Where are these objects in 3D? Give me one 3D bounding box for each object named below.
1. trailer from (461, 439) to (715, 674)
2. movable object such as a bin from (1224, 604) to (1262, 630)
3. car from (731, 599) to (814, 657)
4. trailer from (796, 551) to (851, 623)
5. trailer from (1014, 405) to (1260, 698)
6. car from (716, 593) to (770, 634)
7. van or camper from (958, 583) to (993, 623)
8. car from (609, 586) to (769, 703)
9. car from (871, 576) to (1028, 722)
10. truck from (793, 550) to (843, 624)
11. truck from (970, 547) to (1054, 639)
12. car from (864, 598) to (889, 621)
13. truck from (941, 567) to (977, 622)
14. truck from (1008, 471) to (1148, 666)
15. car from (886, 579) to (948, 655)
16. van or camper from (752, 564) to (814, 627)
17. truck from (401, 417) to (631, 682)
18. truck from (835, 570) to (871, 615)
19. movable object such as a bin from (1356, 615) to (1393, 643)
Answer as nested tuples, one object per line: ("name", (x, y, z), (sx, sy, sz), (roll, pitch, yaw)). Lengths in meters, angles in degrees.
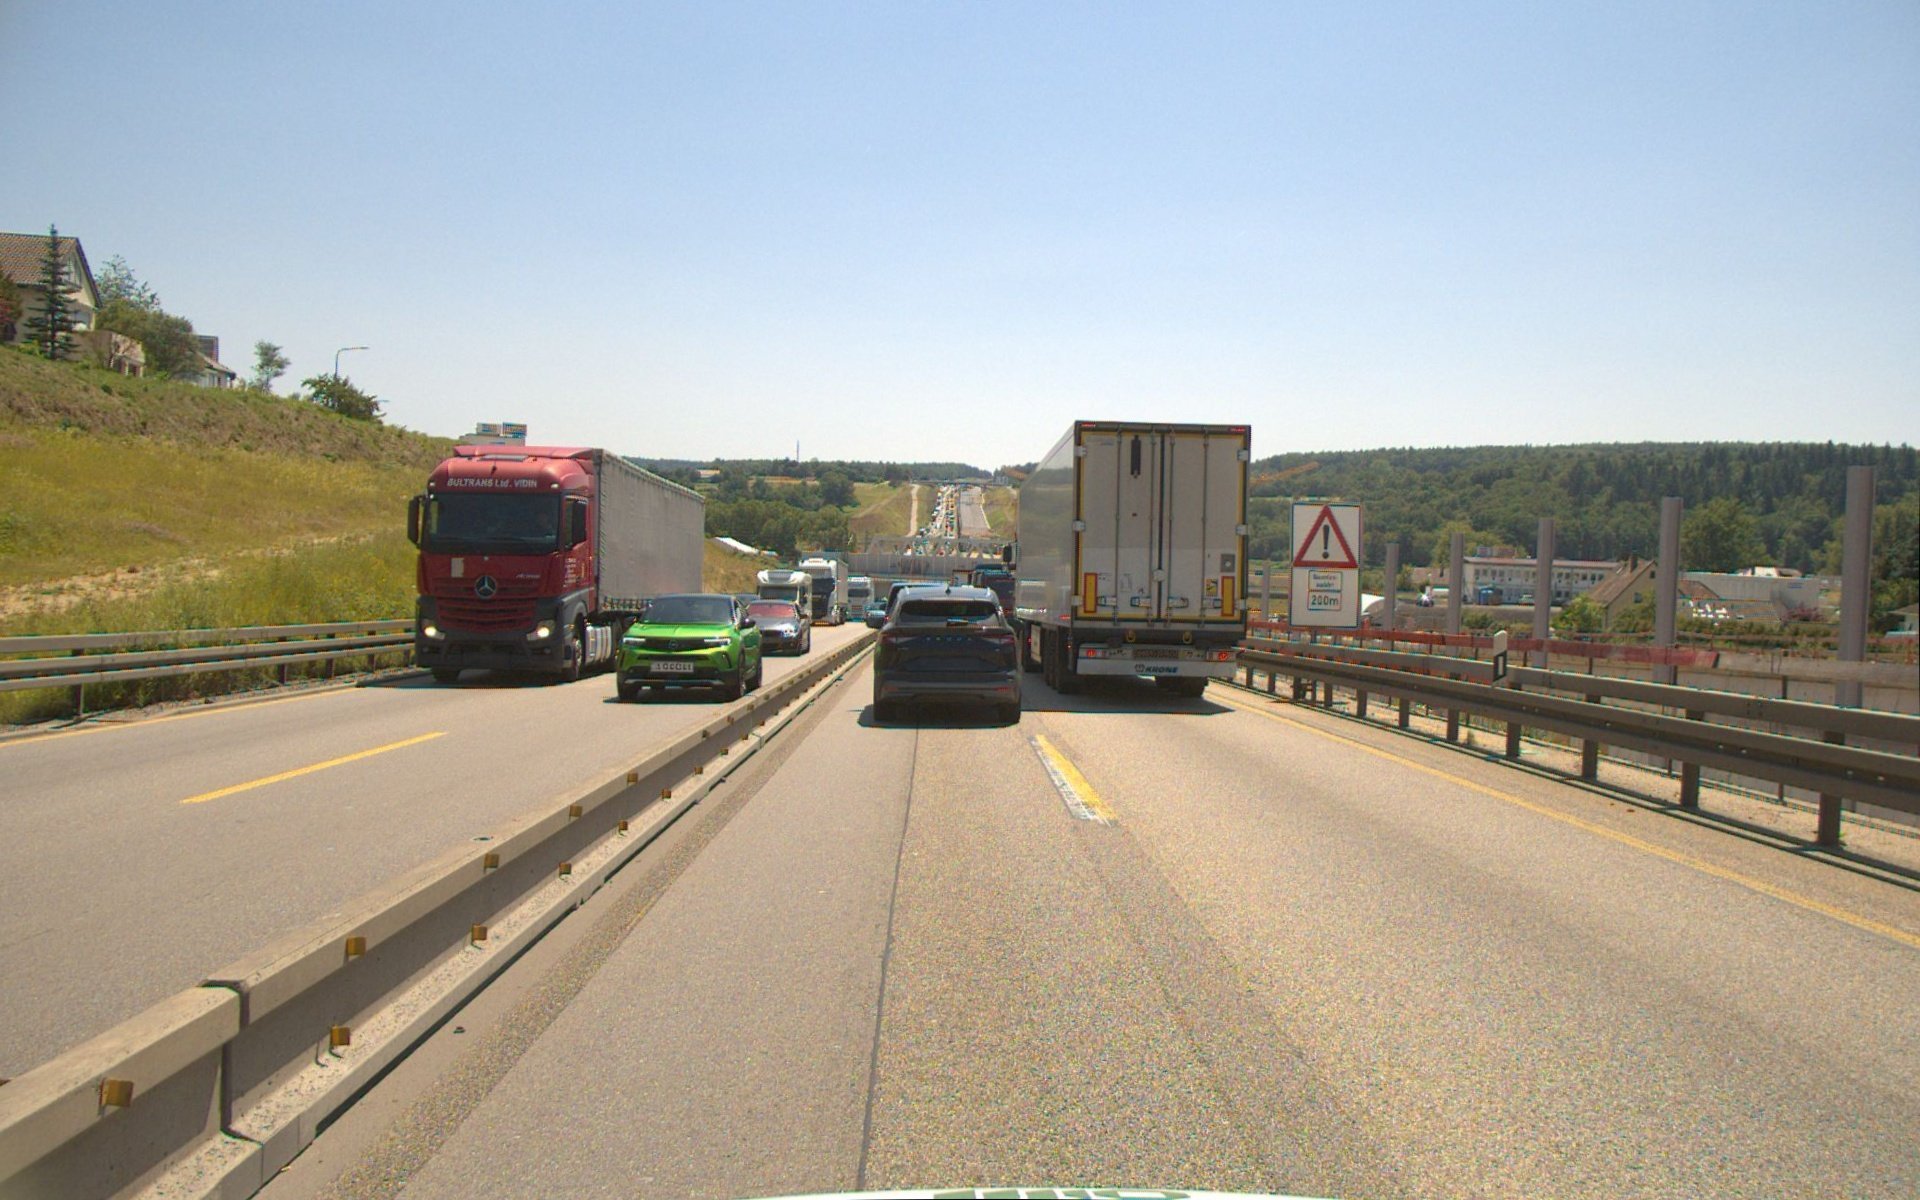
("trailer", (-7.714, -0.807, 36.588), (2.799, 4.196, 13.433), (1, 0, -1))
("movable object such as a bin", (33.715, 2.055, 197.258), (2.829, 2.960, 9.477), (1, -1, 0))
("car", (-4.796, 0.686, 42.799), (1.732, 1.386, 4.410), (1, 0, -1))
("trailer", (-8.848, -0.781, 108.736), (2.754, 4.362, 14.030), (1, 0, -2))
("trailer", (2.749, -0.600, 30.485), (2.744, 4.129, 14.112), (1, -1, -1))
("car", (-8.595, 0.512, 65.856), (1.682, 1.579, 4.263), (1, 0, -2))
("van or camper", (0.902, 0.161, 98.951), (1.953, 2.283, 3.999), (2, 0, -1))
("car", (-3.930, 0.603, 24.583), (1.718, 1.534, 3.999), (2, 0, -1))
("car", (-0.146, 0.561, 20.666), (1.764, 1.649, 3.297), (1, 0, -1))
("truck", (-8.640, -0.766, 101.187), (2.718, 4.362, 4.675), (1, 0, -2))
("truck", (1.847, -0.171, 63.902), (2.756, 3.190, 12.835), (1, -1, 0))
("car", (-5.707, 0.623, 112.693), (1.596, 1.505, 3.379), (1, 0, -2))
("truck", (-0.086, -0.410, 128.402), (2.467, 4.028, 7.597), (2, 0, -2))
("truck", (2.585, -0.639, 37.606), (2.720, 4.130, 4.903), (1, -1, -1))
("car", (-1.066, 0.416, 42.044), (1.444, 1.826, 3.297), (1, 0, 0))
("van or camper", (-8.365, -0.195, 78.913), (2.287, 2.826, 7.514), (1, 0, -2))
("truck", (-7.556, -0.806, 28.743), (2.764, 4.196, 4.597), (1, 0, -1))
("truck", (-10.135, -0.674, 157.272), (3.173, 4.233, 4.246), (1, 0, -2))
("movable object such as a bin", (34.199, 2.355, 136.601), (1.953, 2.278, 4.151), (1, -1, 0))
